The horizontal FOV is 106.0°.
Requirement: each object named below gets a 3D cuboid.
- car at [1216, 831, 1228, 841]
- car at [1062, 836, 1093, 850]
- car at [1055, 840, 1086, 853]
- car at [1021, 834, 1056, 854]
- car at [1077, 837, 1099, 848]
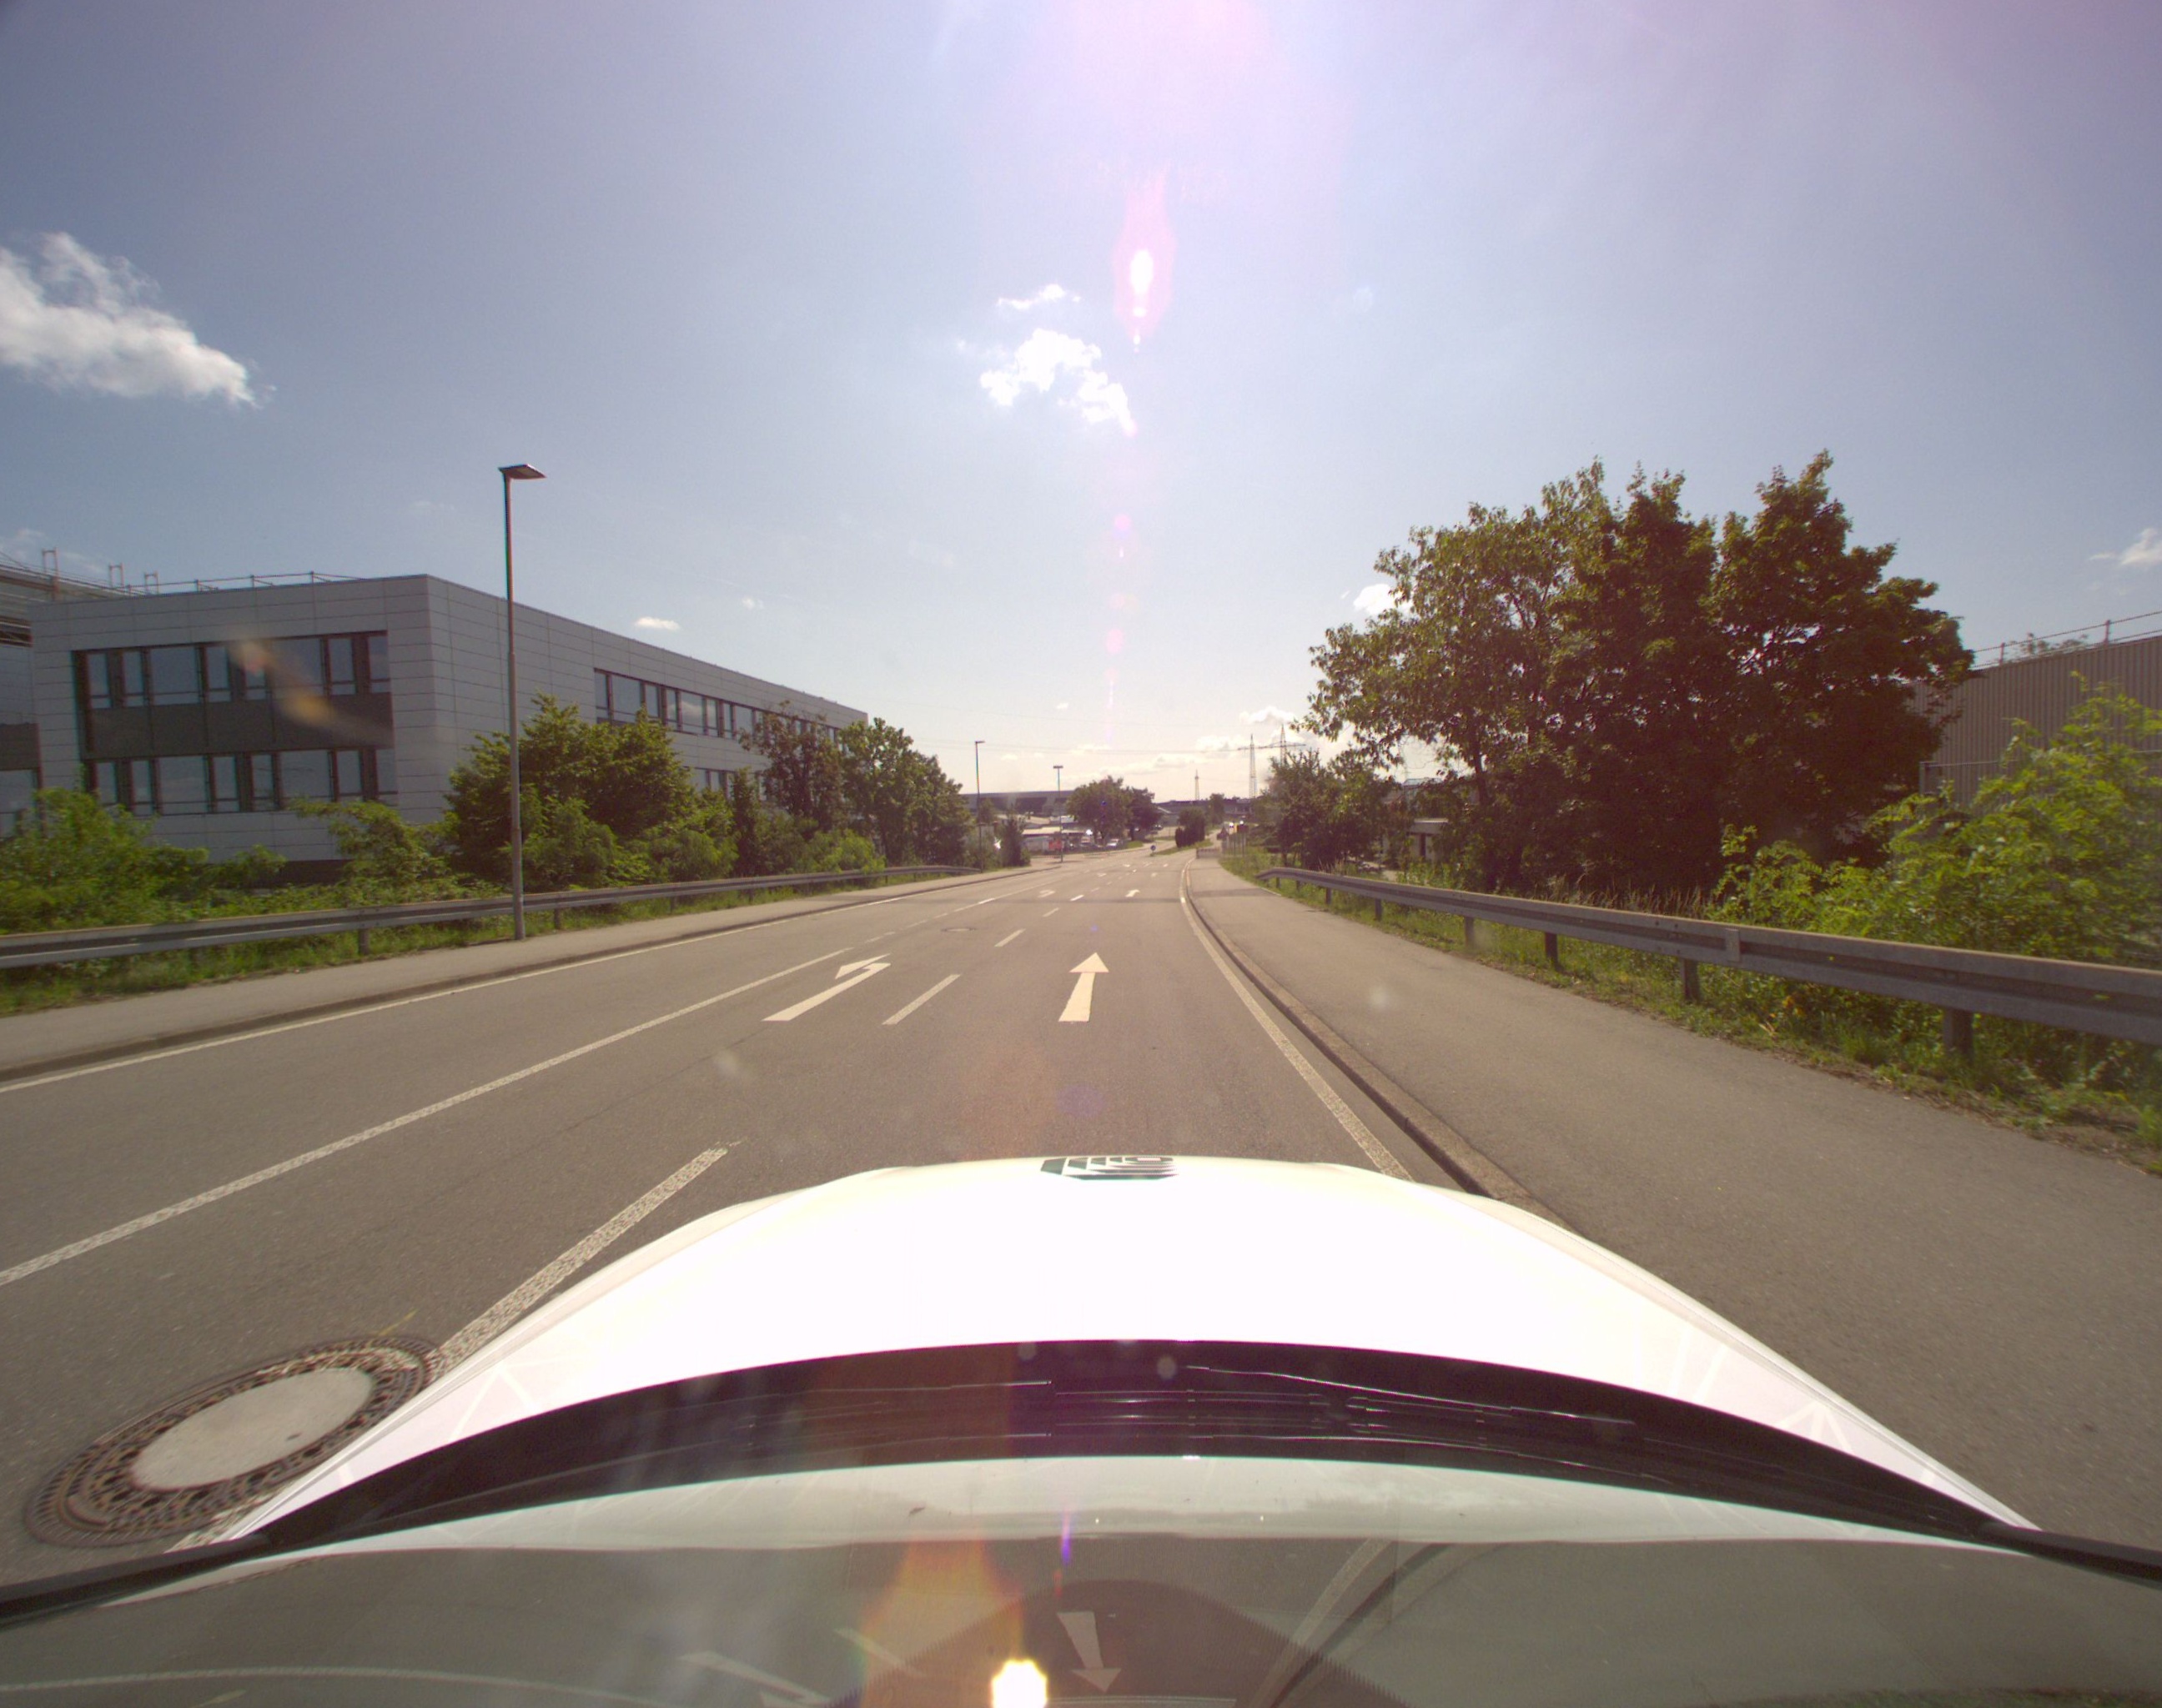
[{"bbox_3d":[29.275,-3.742,169.041,2.258,1.946,4.679,2,2,10],"label":"car"},{"bbox_3d":[-0.500,-1.522,115.629,3.948,1.903,2.013,1,3,35],"label":"car"},{"bbox_3d":[-1.482,-1.074,113.658,3.948,1.780,2.013,1,3,34],"label":"car"},{"bbox_3d":[-5.715,-1.294,109.950,4.309,2.608,2.013,-1,1,36],"label":"car"},{"bbox_3d":[1.243,-2.065,147.844,3.978,1.850,1.833,-2,1,-3],"label":"car"}]
